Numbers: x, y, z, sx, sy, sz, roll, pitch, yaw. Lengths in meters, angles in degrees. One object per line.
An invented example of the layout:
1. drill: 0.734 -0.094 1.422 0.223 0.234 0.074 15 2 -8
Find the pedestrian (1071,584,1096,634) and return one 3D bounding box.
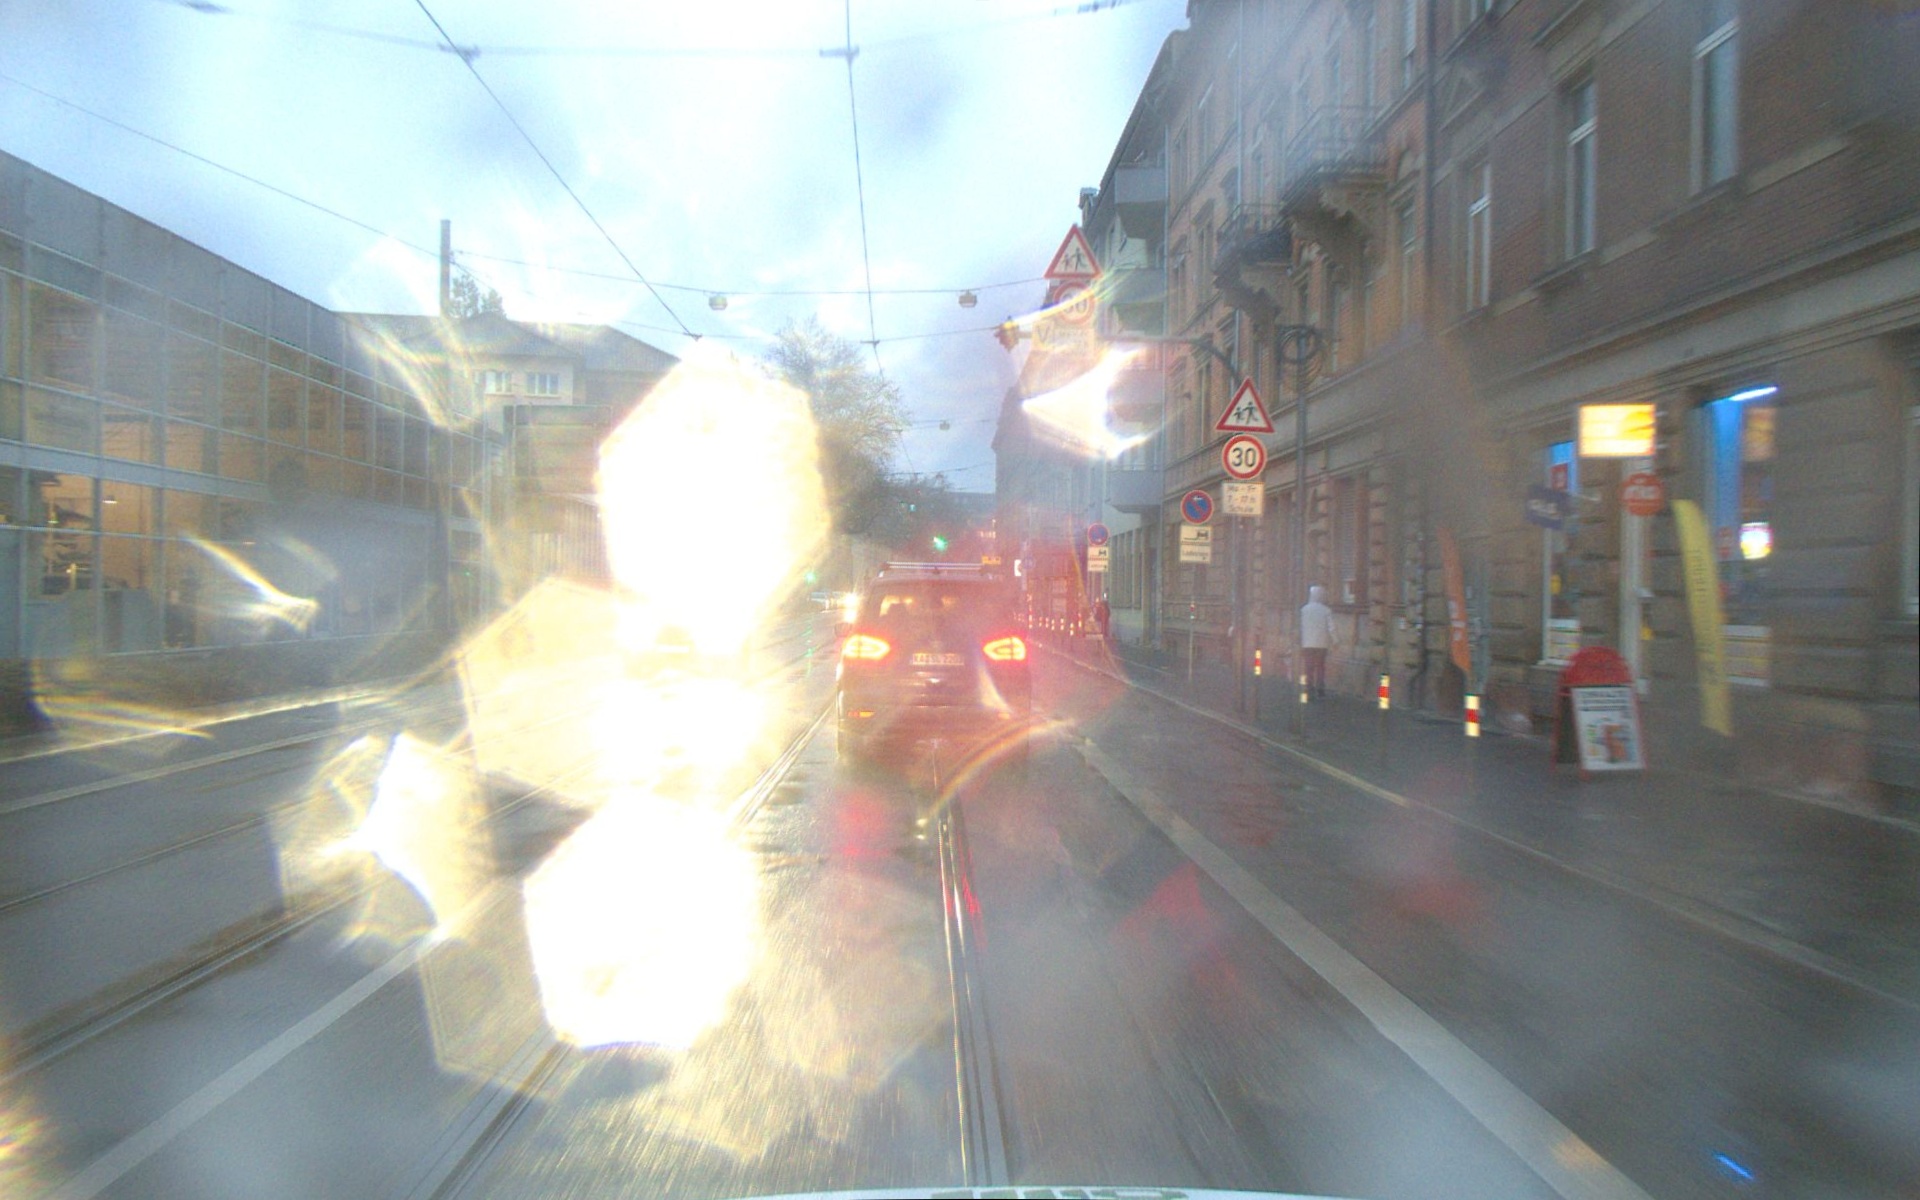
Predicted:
1. pedestrian: 4.618 0.339 61.945 0.592 1.850 0.769 2 -1 -29

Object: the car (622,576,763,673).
1. car: -4.765 0.415 30.025 1.803 1.606 4.442 1 0 0

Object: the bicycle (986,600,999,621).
1. bicycle: 1.860 0.610 95.252 0.670 1.176 2.188 2 0 -1

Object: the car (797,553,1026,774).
1. car: -0.371 0.549 16.311 1.952 1.874 4.001 1 0 1

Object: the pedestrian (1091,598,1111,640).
1. pedestrian: 4.792 0.639 56.261 0.588 1.401 0.728 2 -1 -2

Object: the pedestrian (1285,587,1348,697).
1. pedestrian: 5.365 0.619 24.942 0.770 1.625 0.742 1 0 -1

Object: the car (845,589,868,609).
1. car: -8.894 -0.089 141.758 1.837 1.739 4.758 0 0 -2

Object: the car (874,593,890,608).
1. car: -7.911 0.005 168.297 1.499 1.507 3.560 1 0 -1
